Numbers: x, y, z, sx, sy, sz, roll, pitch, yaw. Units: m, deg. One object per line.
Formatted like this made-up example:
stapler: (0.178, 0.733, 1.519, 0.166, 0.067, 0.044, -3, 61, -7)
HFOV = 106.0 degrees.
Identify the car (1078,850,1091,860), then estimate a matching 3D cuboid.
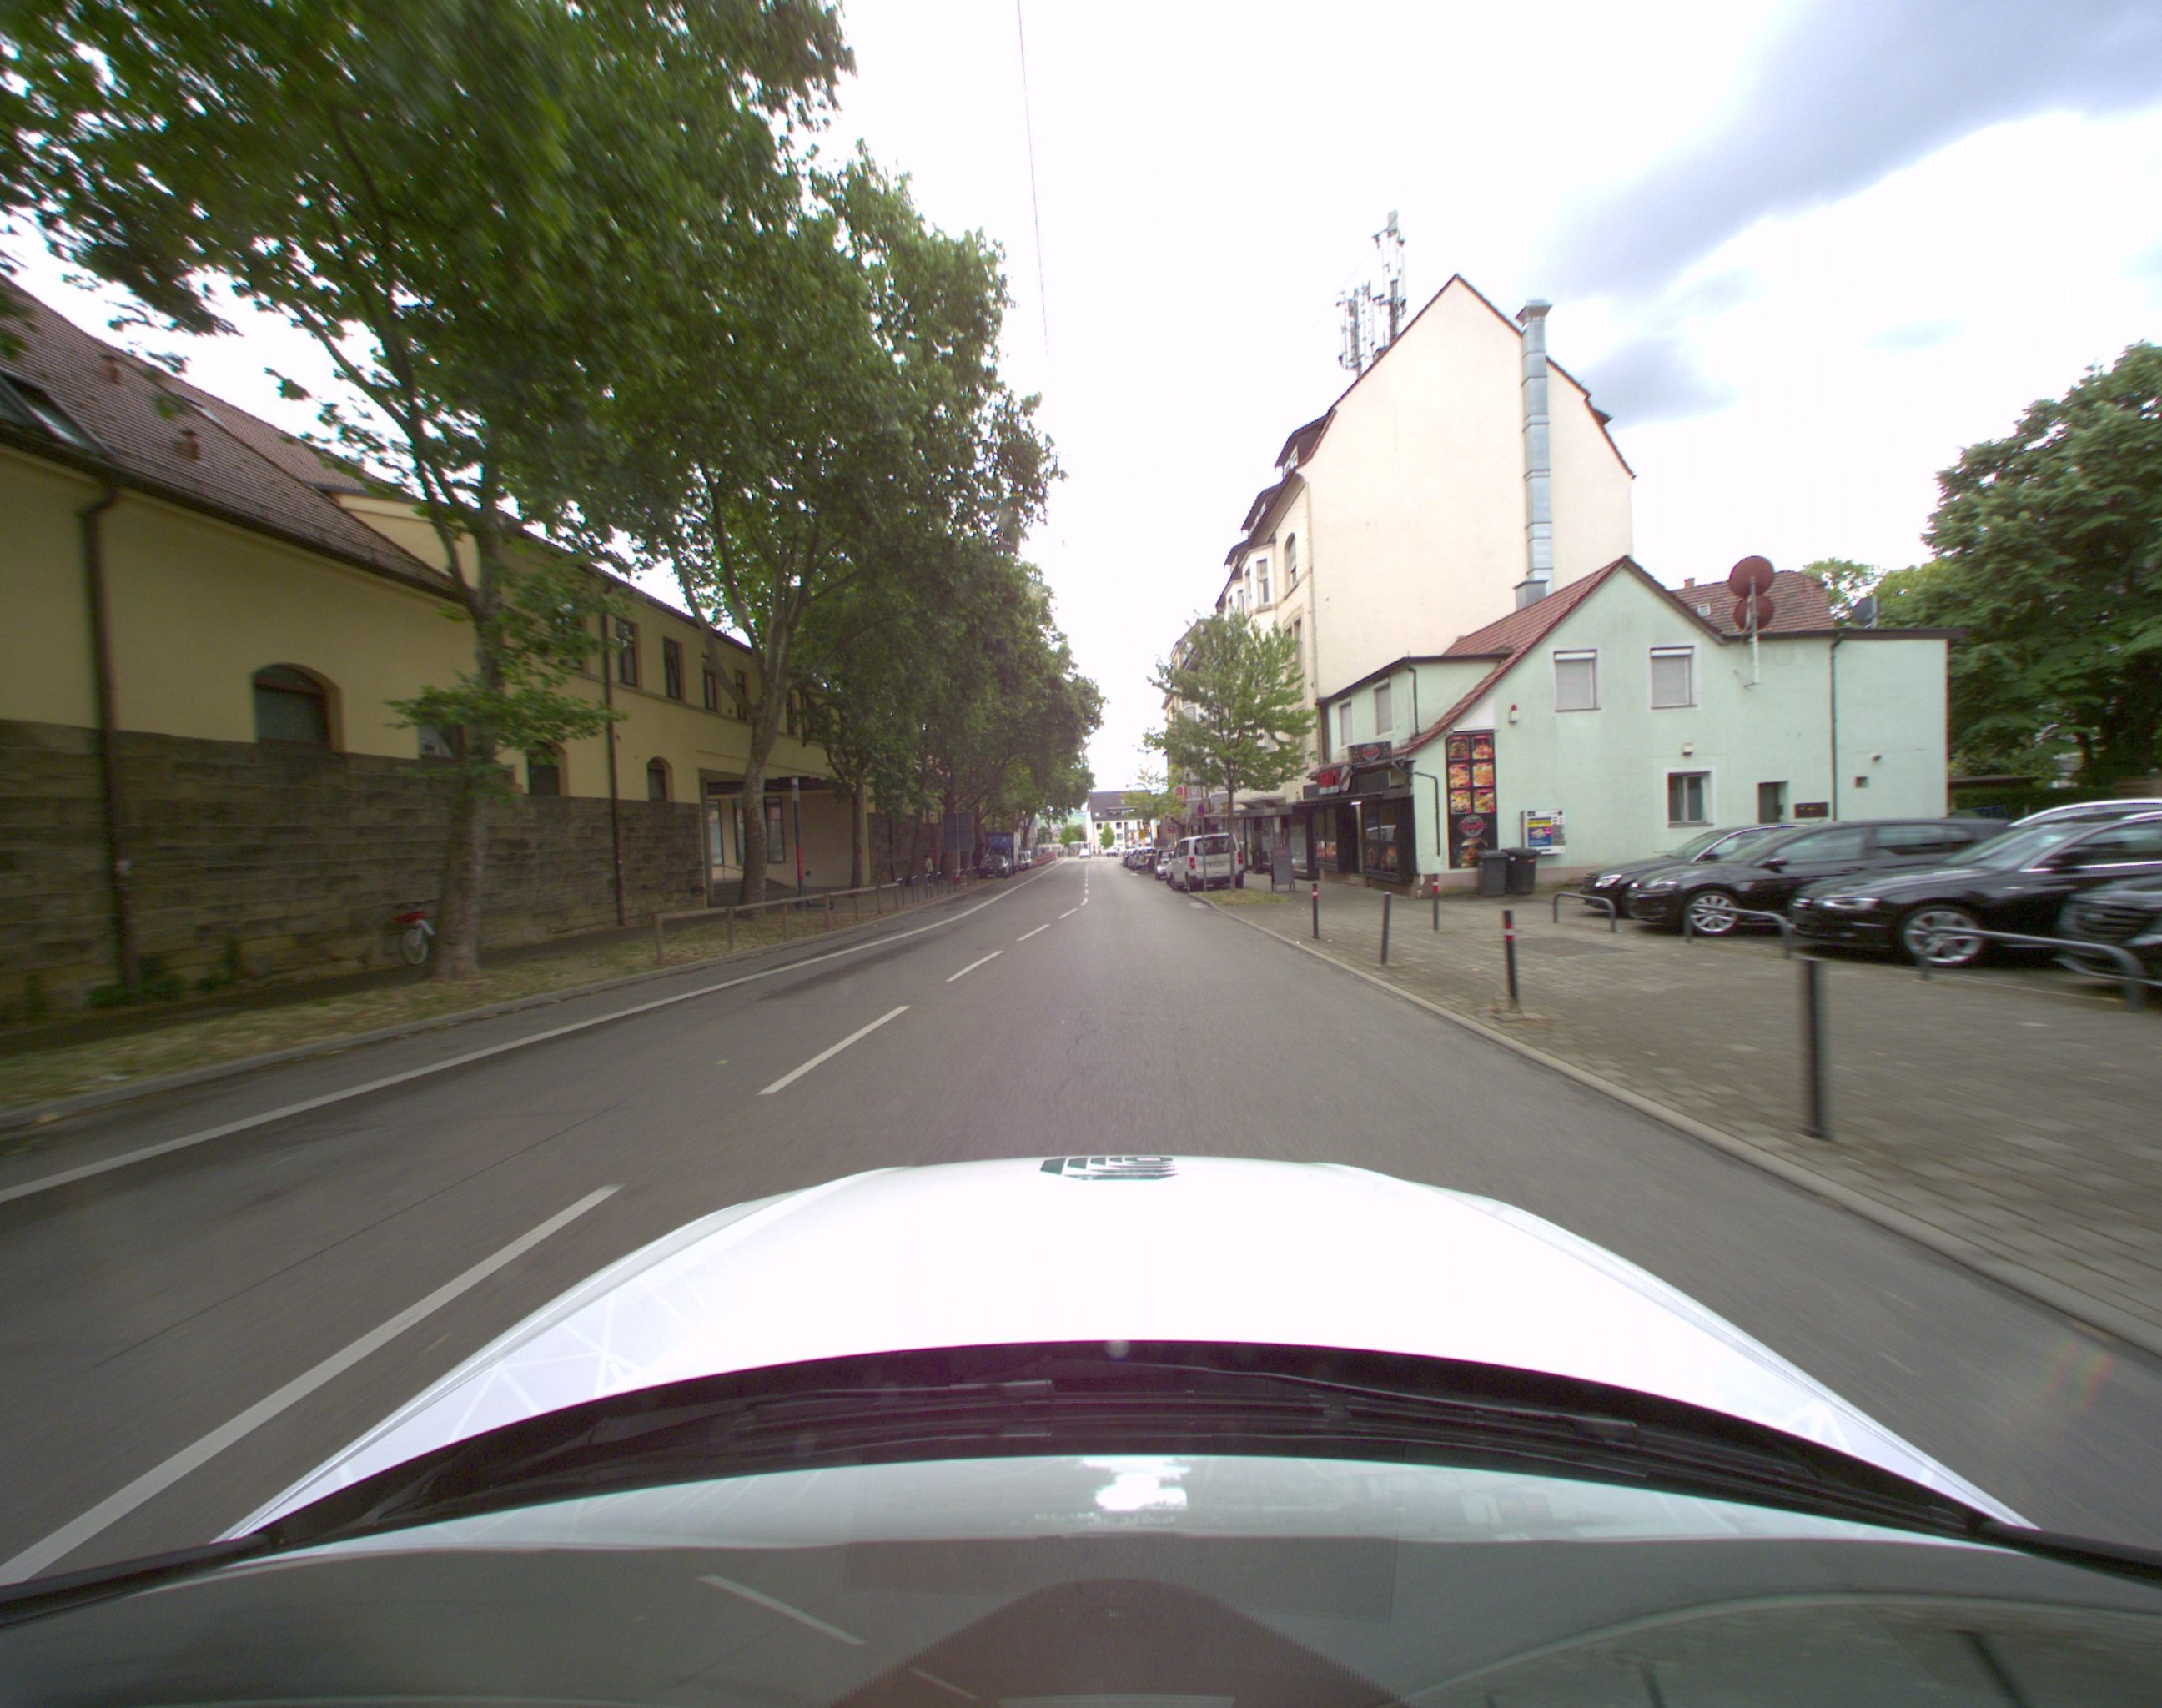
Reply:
car: (0.593, 0.219, 130.596, 1.858, 1.489, 3.880, -2, 0, 1)

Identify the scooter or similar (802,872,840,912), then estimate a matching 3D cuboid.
scooter or similar: (-8.314, 1.211, 26.039, 1.028, 1.184, 0.490, -2, 0, -9)

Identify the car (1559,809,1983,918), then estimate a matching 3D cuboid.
car: (10.783, 0.182, 13.267, 4.861, 1.469, 1.939, -2, 0, 21)

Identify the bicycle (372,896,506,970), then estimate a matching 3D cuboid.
bicycle: (-11.420, 1.365, 14.594, 0.594, 1.091, 2.196, 0, 0, 2)

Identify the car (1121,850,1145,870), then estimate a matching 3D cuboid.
car: (4.455, 0.496, 69.872, 1.664, 1.547, 3.753, -2, 0, -2)

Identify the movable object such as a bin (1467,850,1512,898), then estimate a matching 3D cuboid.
movable object such as a bin: (9.383, 0.447, 18.730, 0.695, 1.041, 0.645, -2, 0, 2)

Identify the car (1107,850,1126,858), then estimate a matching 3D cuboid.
car: (6.494, -0.012, 149.570, 1.661, 1.424, 4.201, -2, 0, 29)

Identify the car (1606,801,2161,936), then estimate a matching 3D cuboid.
car: (9.982, 0.225, 10.810, 4.857, 1.469, 1.941, -2, 0, 27)

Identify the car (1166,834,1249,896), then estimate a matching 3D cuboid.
car: (4.402, 0.345, 29.133, 1.989, 1.935, 4.914, -2, 0, -2)

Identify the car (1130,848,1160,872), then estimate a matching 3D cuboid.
car: (4.624, 0.416, 58.925, 1.664, 1.547, 3.753, -2, 0, -2)

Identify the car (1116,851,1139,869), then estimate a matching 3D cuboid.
car: (4.266, 0.522, 74.949, 1.664, 1.547, 3.753, -2, 0, -2)

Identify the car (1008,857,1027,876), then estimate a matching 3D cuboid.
car: (-5.923, 1.122, 76.483, 1.529, 1.639, 3.715, -2, 0, -2)

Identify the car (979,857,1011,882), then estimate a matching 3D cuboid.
car: (-5.838, 1.011, 55.700, 1.830, 1.578, 3.753, -2, 0, -2)

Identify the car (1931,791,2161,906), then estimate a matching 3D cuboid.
car: (16.142, -0.103, 12.542, 1.721, 1.665, 3.859, -2, 0, -25)

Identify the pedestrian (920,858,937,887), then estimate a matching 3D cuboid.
pedestrian: (-8.178, 0.992, 43.741, 0.677, 1.536, 0.605, -2, 0, -31)

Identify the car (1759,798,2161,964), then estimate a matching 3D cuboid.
car: (10.157, 0.220, 8.124, 4.857, 1.493, 1.866, -2, 0, 25)

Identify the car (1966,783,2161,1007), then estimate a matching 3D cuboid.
car: (9.817, 0.181, 5.442, 4.856, 1.540, 2.012, -2, 0, 29)

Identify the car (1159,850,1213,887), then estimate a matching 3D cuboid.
car: (4.471, 0.603, 35.053, 1.664, 1.432, 3.753, -2, 0, -2)

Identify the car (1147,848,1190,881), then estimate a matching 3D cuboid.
car: (4.511, 0.528, 42.323, 1.664, 1.547, 3.753, -2, 0, -2)

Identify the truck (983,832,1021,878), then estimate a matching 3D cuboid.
truck: (-6.218, 0.045, 65.087, 2.224, 3.346, 7.448, -2, 0, 0)

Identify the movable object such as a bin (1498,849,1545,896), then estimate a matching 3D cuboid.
movable object such as a bin: (10.133, 0.414, 18.748, 0.695, 1.041, 0.645, -2, 0, 2)

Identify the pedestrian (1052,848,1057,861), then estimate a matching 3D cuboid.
pedestrian: (-4.225, 0.044, 128.249, 0.631, 2.013, 0.785, -2, 0, 2)

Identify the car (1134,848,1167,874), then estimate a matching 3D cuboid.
car: (4.448, 0.417, 52.556, 1.664, 1.547, 3.753, -2, 0, -2)

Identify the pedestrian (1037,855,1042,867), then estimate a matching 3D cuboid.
pedestrian: (-6.889, 1.110, 134.903, 0.631, 1.994, 0.785, -2, 0, 2)

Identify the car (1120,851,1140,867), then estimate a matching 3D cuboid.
car: (4.974, 0.460, 82.822, 1.664, 1.547, 3.753, -2, 0, -2)
